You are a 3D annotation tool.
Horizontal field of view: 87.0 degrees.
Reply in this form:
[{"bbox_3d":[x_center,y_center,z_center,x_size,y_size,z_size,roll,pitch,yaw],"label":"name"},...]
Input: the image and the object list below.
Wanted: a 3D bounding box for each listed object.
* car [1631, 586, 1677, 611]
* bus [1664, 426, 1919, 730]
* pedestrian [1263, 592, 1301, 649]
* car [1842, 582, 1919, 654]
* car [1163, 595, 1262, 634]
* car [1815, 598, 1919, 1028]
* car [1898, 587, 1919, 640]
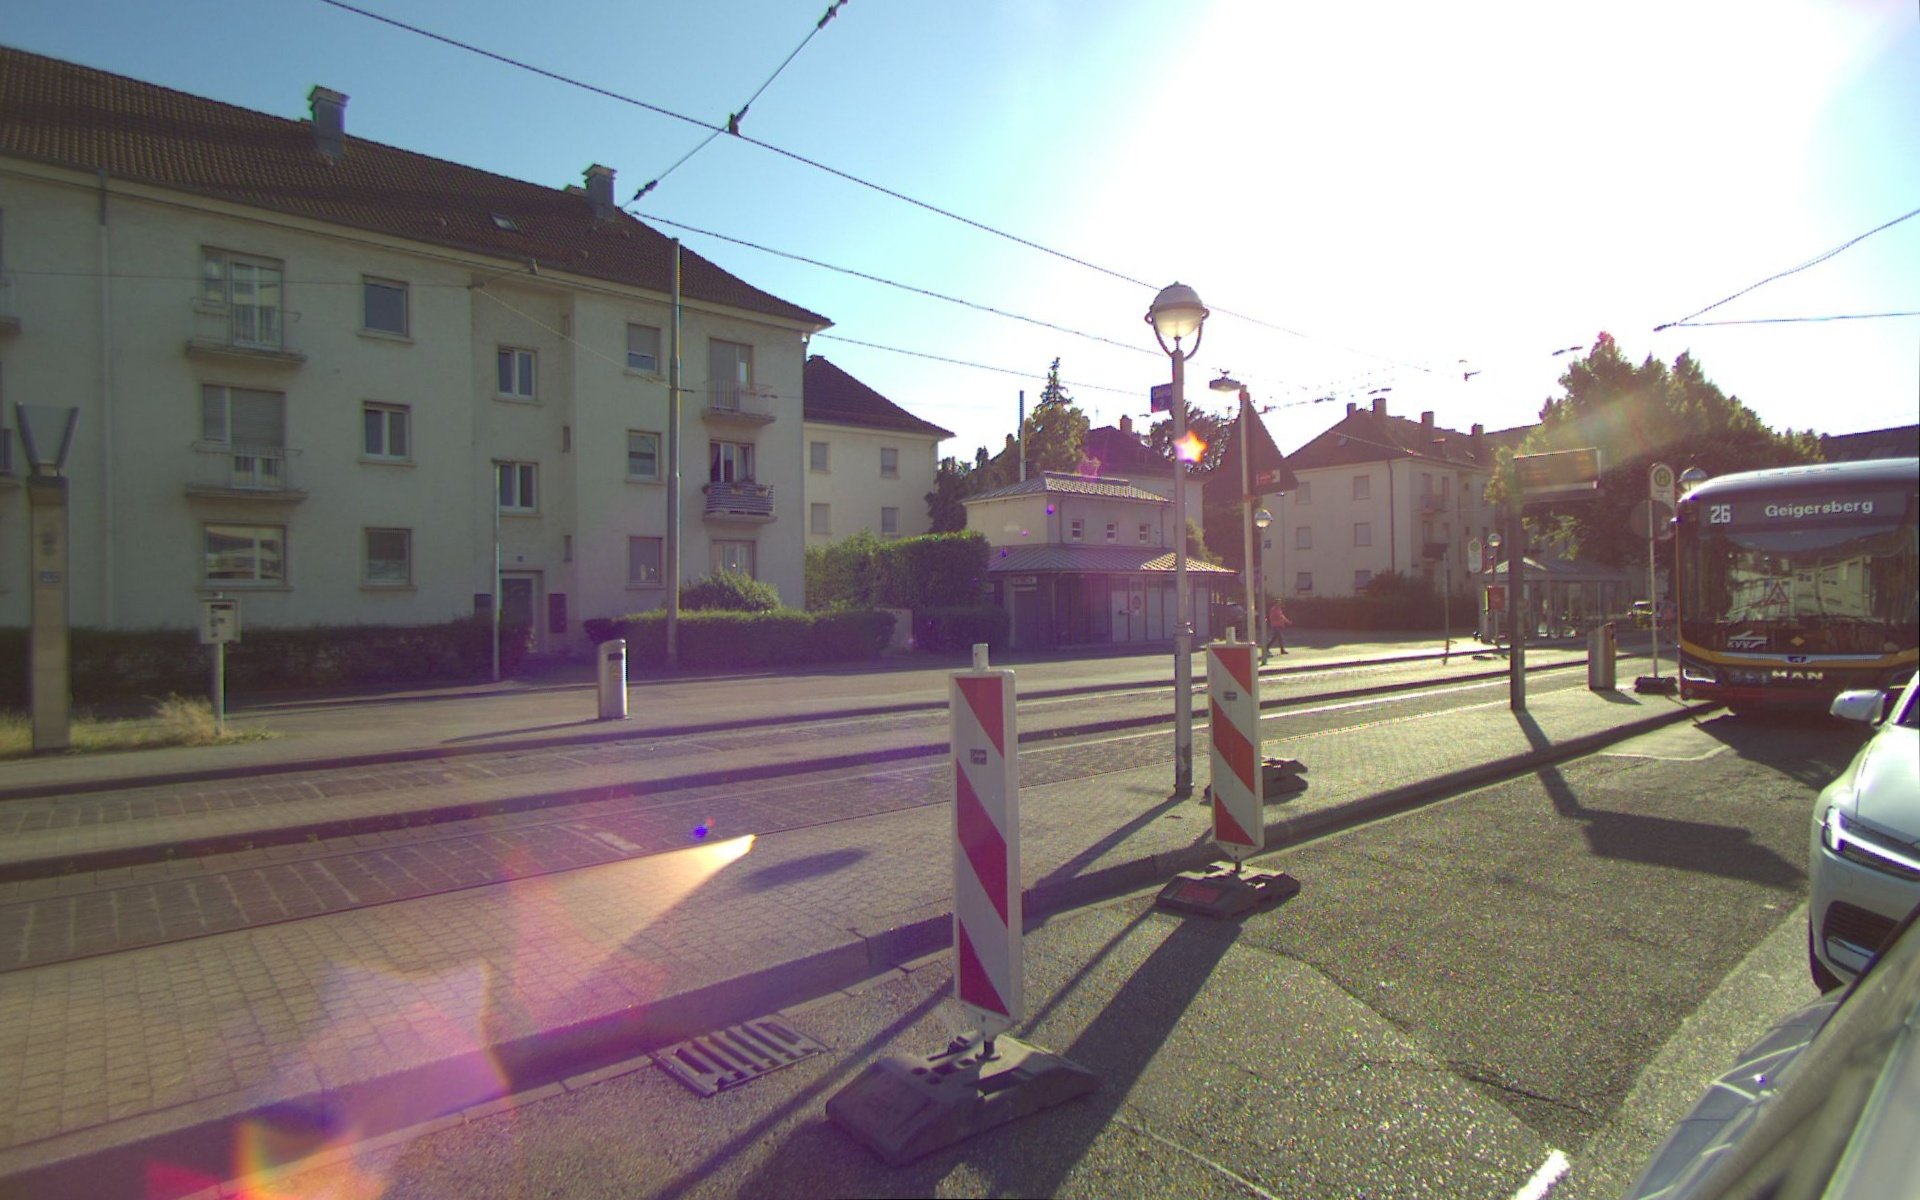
[{"bbox_3d":[53.778,-0.107,78.427,3.930,1.887,1.997,-1,0,-41],"label":"car"},{"bbox_3d":[14.313,-0.264,15.840,11.824,3.345,2.745,0,0,-42],"label":"bus"},{"bbox_3d":[10.027,0.629,31.519,0.810,1.740,0.842,0,0,-37],"label":"pedestrian"},{"bbox_3d":[21.222,0.359,22.358,4.740,1.477,1.968,0,0,-41],"label":"car"},{"bbox_3d":[11.583,0.683,46.662,1.964,1.694,4.050,-1,-1,-39],"label":"car"},{"bbox_3d":[5.269,0.730,4.353,4.143,1.472,1.819,0,0,-41],"label":"car"},{"bbox_3d":[28.781,0.369,29.223,4.740,1.477,1.968,0,0,-41],"label":"car"}]
